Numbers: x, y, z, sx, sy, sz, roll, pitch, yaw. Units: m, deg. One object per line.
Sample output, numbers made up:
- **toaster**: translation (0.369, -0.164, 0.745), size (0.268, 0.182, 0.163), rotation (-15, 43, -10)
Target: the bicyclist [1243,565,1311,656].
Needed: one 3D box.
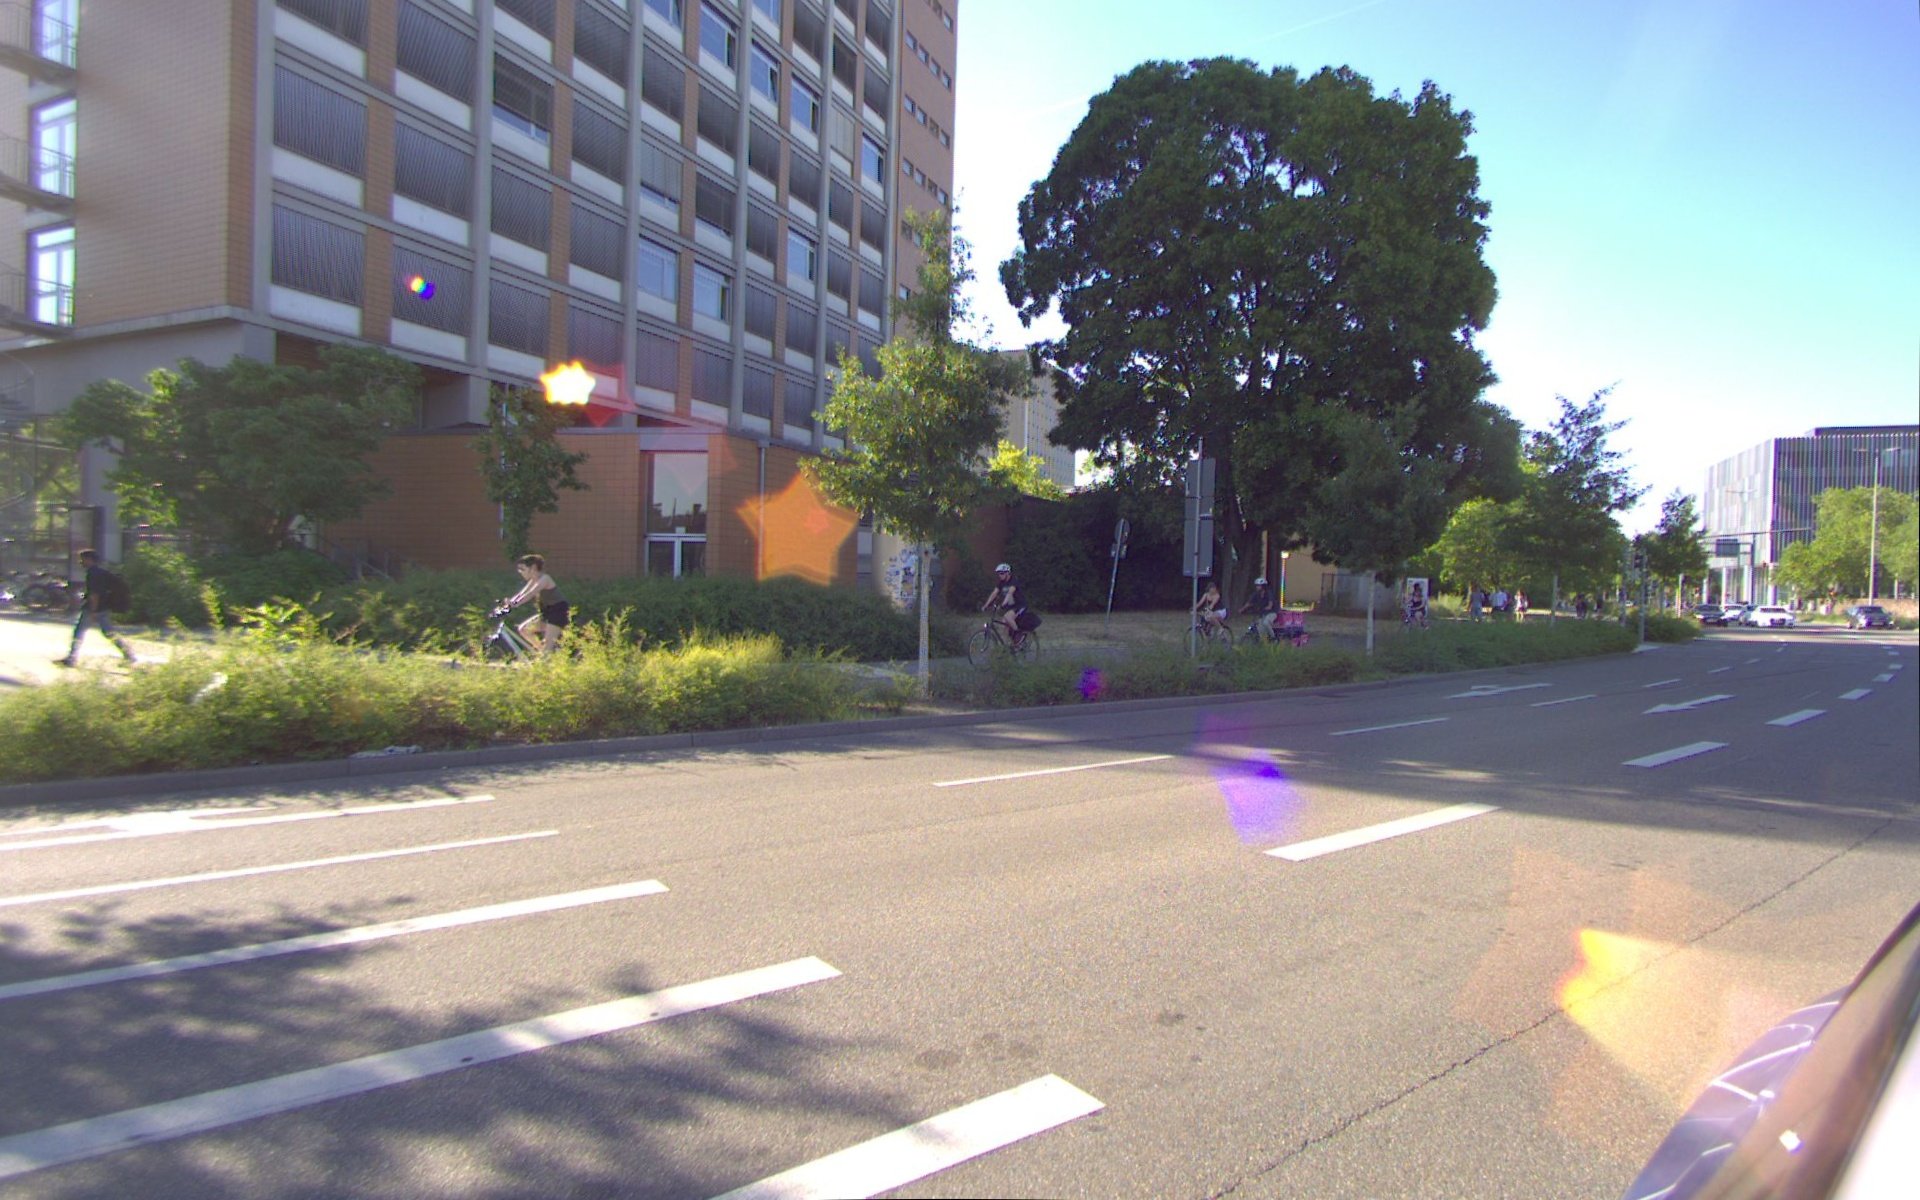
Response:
- **bicyclist**: translation (6.654, 0.203, 21.280), size (1.070, 1.856, 0.782), rotation (1, 1, -24)

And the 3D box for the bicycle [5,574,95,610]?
- **bicycle**: translation (-23.282, -0.211, 25.919), size (0.523, 0.868, 1.640), rotation (1, 1, 25)

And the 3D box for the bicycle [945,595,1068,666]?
- **bicycle**: translation (0.855, 0.514, 17.952), size (2.251, 1.170, 0.779), rotation (0, 1, -41)

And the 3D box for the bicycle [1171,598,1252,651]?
- **bicycle**: translation (5.725, 0.564, 23.008), size (1.833, 1.136, 0.719), rotation (3, -1, -35)

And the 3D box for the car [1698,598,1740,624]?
- **car**: translation (48.458, 0.669, 64.638), size (1.790, 1.538, 3.954), rotation (2, 2, 32)

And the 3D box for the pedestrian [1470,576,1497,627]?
- **pedestrian**: translation (19.681, 0.066, 38.043), size (0.610, 1.892, 0.578), rotation (1, 1, -9)

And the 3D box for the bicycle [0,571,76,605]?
- **bicycle**: translation (-24.611, -0.324, 26.885), size (0.523, 0.868, 1.640), rotation (1, 1, 25)

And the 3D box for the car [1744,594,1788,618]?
- **car**: translation (55.824, 0.410, 70.138), size (1.911, 1.538, 3.971), rotation (2, 2, 32)

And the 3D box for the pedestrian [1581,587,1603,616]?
- **pedestrian**: translation (39.926, 0.074, 63.966), size (1.008, 1.771, 0.843), rotation (2, 1, 24)

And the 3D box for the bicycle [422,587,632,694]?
- **bicycle**: translation (-5.327, 0.464, 12.528), size (2.248, 1.170, 0.781), rotation (0, 4, -36)

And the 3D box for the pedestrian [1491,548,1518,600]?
- **pedestrian**: translation (20.140, -0.960, 37.432), size (0.610, 1.892, 0.578), rotation (1, 1, -9)

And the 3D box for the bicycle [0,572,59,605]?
- **bicycle**: translation (-25.280, -0.311, 27.123), size (0.523, 0.868, 1.640), rotation (1, 1, 25)

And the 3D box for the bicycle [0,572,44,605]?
- **bicycle**: translation (-25.897, -0.318, 27.337), size (0.523, 0.868, 1.640), rotation (1, 1, 25)

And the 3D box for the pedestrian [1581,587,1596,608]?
- **pedestrian**: translation (47.856, -0.196, 77.079), size (0.755, 1.562, 0.840), rotation (2, 1, 24)

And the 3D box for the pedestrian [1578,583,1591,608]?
- **pedestrian**: translation (44.466, -0.342, 72.048), size (0.706, 1.734, 0.726), rotation (2, 1, 30)

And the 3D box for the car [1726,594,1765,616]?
- **car**: translation (58.937, 0.345, 75.997), size (1.911, 1.538, 3.971), rotation (2, 2, 32)

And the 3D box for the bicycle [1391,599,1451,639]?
- **bicycle**: translation (13.437, 0.537, 29.494), size (2.028, 1.135, 0.719), rotation (0, 0, -37)

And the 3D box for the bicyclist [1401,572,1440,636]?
- **bicyclist**: translation (13.400, 0.115, 29.459), size (0.834, 1.811, 0.717), rotation (0, -1, -37)

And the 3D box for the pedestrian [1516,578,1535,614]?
- **pedestrian**: translation (27.500, -0.207, 49.212), size (0.669, 1.725, 0.870), rotation (2, 1, 24)

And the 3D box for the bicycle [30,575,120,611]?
- **bicycle**: translation (-22.247, -0.191, 25.464), size (0.523, 0.868, 1.640), rotation (1, 1, 25)

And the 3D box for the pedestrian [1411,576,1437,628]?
- **pedestrian**: translation (15.603, 0.054, 34.029), size (0.619, 1.720, 0.622), rotation (2, 1, 38)

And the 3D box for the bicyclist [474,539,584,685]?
- **bicyclist**: translation (-5.329, 0.125, 12.500), size (1.072, 1.697, 0.781), rotation (1, 4, -36)

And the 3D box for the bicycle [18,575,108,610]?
- **bicycle**: translation (-22.748, -0.195, 25.704), size (0.523, 0.868, 1.640), rotation (1, 1, 25)

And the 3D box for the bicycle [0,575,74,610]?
- **bicycle**: translation (-23.915, -0.210, 26.020), size (0.523, 0.868, 1.640), rotation (1, 1, 25)

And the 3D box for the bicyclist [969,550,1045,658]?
- **bicyclist**: translation (0.840, 0.057, 17.929), size (1.074, 1.853, 0.779), rotation (0, 1, -41)

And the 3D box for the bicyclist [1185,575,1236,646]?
- **bicyclist**: translation (5.698, 0.230, 22.982), size (0.833, 1.568, 0.717), rotation (3, -1, -35)

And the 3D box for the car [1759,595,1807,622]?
- **car**: translation (51.988, 0.520, 63.976), size (1.790, 1.538, 4.380), rotation (2, 2, 32)

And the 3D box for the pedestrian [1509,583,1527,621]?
- **pedestrian**: translation (23.680, 0.089, 42.965), size (0.617, 1.594, 0.633), rotation (2, 1, 30)

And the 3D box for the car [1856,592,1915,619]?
- **car**: translation (55.823, 0.300, 61.113), size (1.911, 1.538, 3.971), rotation (2, 2, 32)

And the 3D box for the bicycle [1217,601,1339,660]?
- **bicycle**: translation (6.699, 0.637, 21.305), size (2.527, 1.170, 0.782), rotation (1, 1, -24)

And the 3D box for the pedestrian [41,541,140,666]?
- **pedestrian**: translation (-12.093, 0.048, 14.099), size (0.773, 1.680, 0.810), rotation (0, -1, -18)
